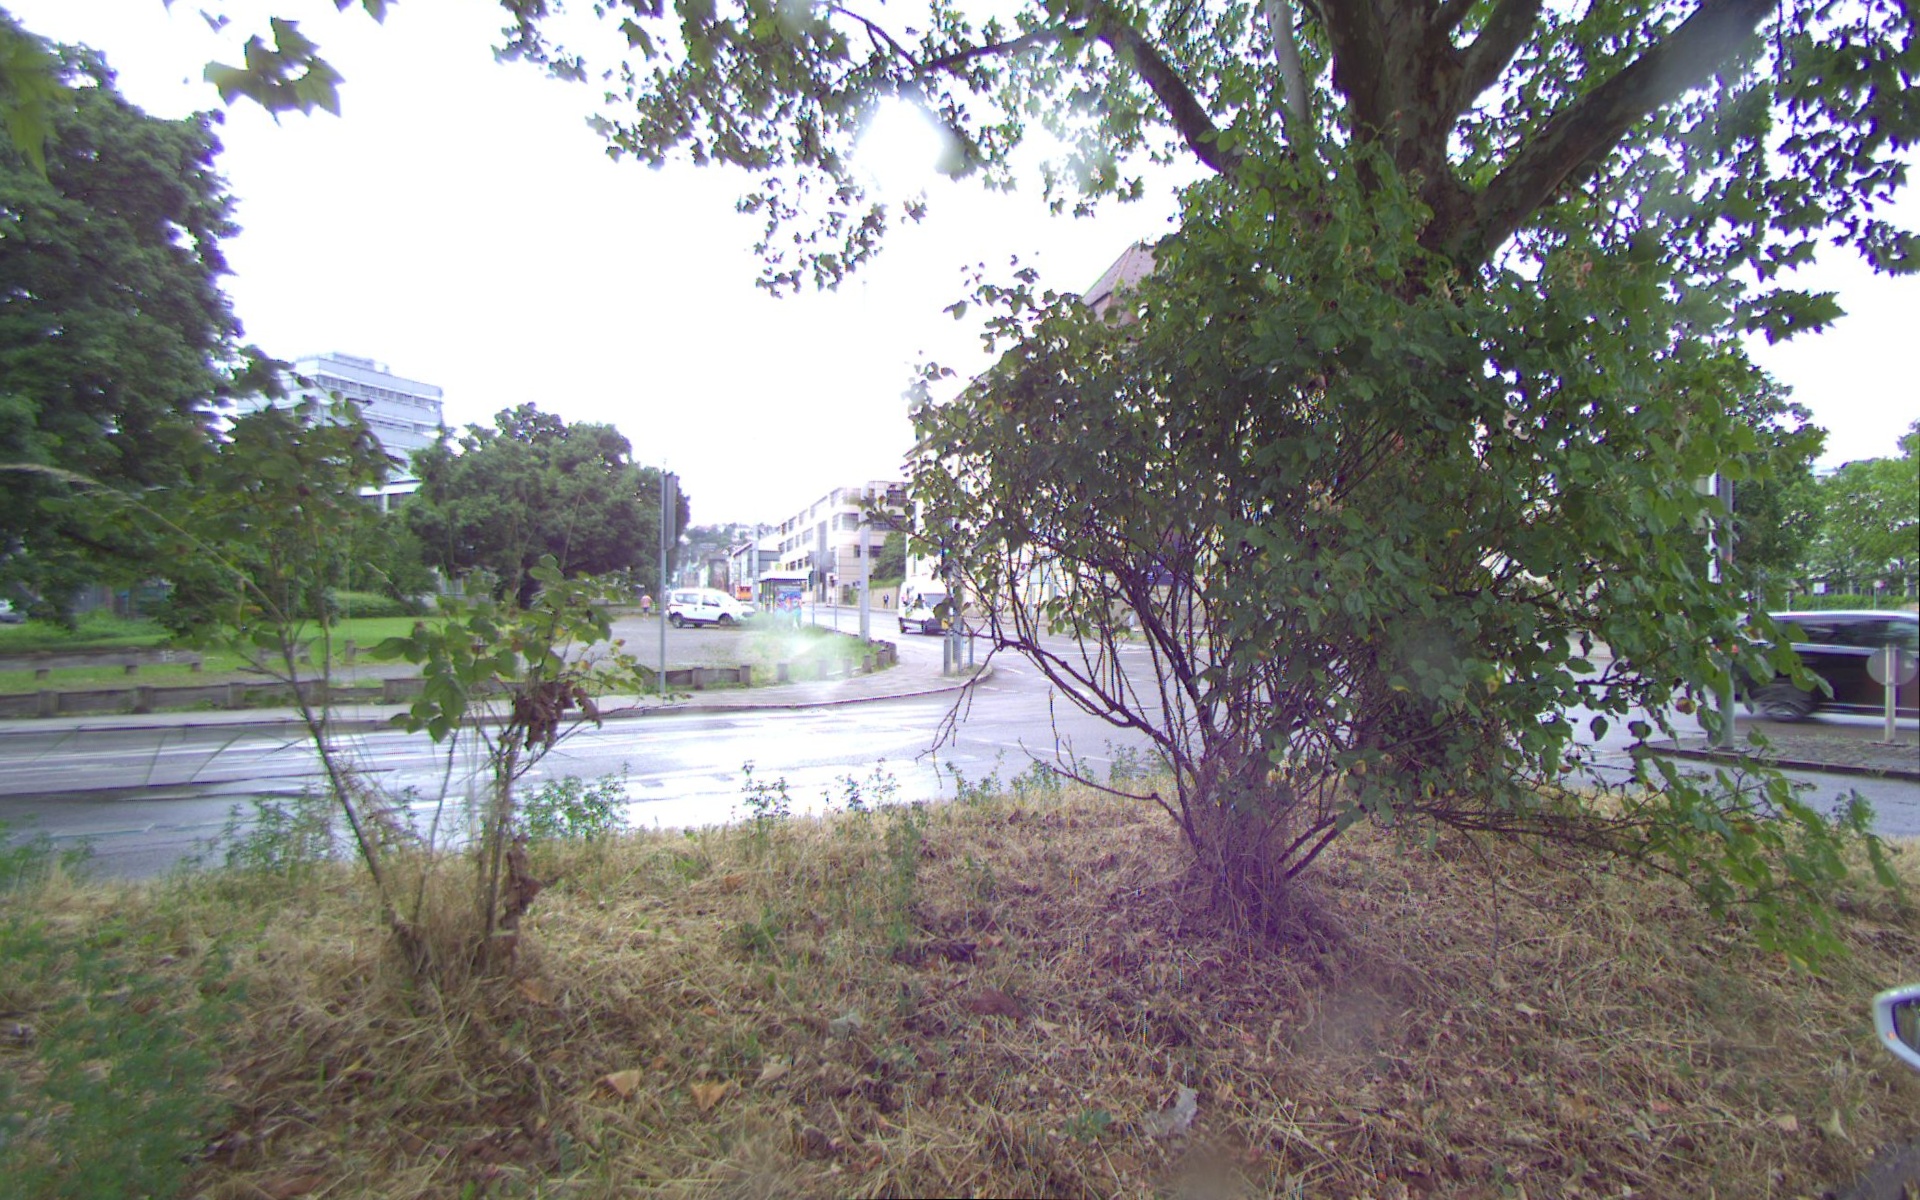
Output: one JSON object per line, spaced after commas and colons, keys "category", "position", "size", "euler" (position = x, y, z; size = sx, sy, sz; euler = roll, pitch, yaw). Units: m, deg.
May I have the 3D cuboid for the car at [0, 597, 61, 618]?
{"category": "car", "position": [-58.518, 0.478, 62.494], "size": [3.500, 1.158, 1.586], "euler": [2, 0, -18]}

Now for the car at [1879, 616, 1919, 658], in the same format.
{"category": "car", "position": [39.309, 1.490, 41.573], "size": [1.847, 1.585, 4.252], "euler": [-1, -1, 43]}

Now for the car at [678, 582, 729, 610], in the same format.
{"category": "car", "position": [-17.343, -0.239, 67.908], "size": [1.838, 1.765, 4.029], "euler": [1, -1, -39]}

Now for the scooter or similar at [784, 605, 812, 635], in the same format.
{"category": "scooter or similar", "position": [-6.573, 0.795, 40.854], "size": [0.541, 1.182, 1.253], "euler": [2, 0, 20]}

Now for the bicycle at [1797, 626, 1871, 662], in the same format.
{"category": "bicycle", "position": [28.421, 1.413, 32.679], "size": [1.795, 1.070, 0.644], "euler": [1, -1, 43]}

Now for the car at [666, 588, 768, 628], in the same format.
{"category": "car", "position": [-11.319, 0.387, 46.736], "size": [4.420, 1.791, 1.833], "euler": [0, -1, 24]}

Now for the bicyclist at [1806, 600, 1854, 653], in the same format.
{"category": "bicyclist", "position": [28.366, 0.859, 32.749], "size": [1.112, 1.654, 0.698], "euler": [2, 0, 43]}

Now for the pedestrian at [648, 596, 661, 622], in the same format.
{"category": "pedestrian", "position": [-18.210, 0.537, 59.905], "size": [0.557, 1.548, 0.669], "euler": [2, 0, -8]}

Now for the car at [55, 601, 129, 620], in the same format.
{"category": "car", "position": [-60.328, 0.723, 69.856], "size": [3.500, 1.158, 1.586], "euler": [2, 0, -18]}

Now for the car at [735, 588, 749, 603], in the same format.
{"category": "car", "position": [-39.584, -0.788, 182.487], "size": [1.968, 2.652, 3.985], "euler": [2, 0, -17]}

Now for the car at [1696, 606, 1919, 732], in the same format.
{"category": "car", "position": [13.734, 0.960, 14.609], "size": [1.783, 1.728, 4.633], "euler": [0, 0, -40]}

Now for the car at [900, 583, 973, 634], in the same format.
{"category": "car", "position": [-1.291, 0.394, 50.849], "size": [1.969, 2.344, 5.902], "euler": [2, 0, -19]}
